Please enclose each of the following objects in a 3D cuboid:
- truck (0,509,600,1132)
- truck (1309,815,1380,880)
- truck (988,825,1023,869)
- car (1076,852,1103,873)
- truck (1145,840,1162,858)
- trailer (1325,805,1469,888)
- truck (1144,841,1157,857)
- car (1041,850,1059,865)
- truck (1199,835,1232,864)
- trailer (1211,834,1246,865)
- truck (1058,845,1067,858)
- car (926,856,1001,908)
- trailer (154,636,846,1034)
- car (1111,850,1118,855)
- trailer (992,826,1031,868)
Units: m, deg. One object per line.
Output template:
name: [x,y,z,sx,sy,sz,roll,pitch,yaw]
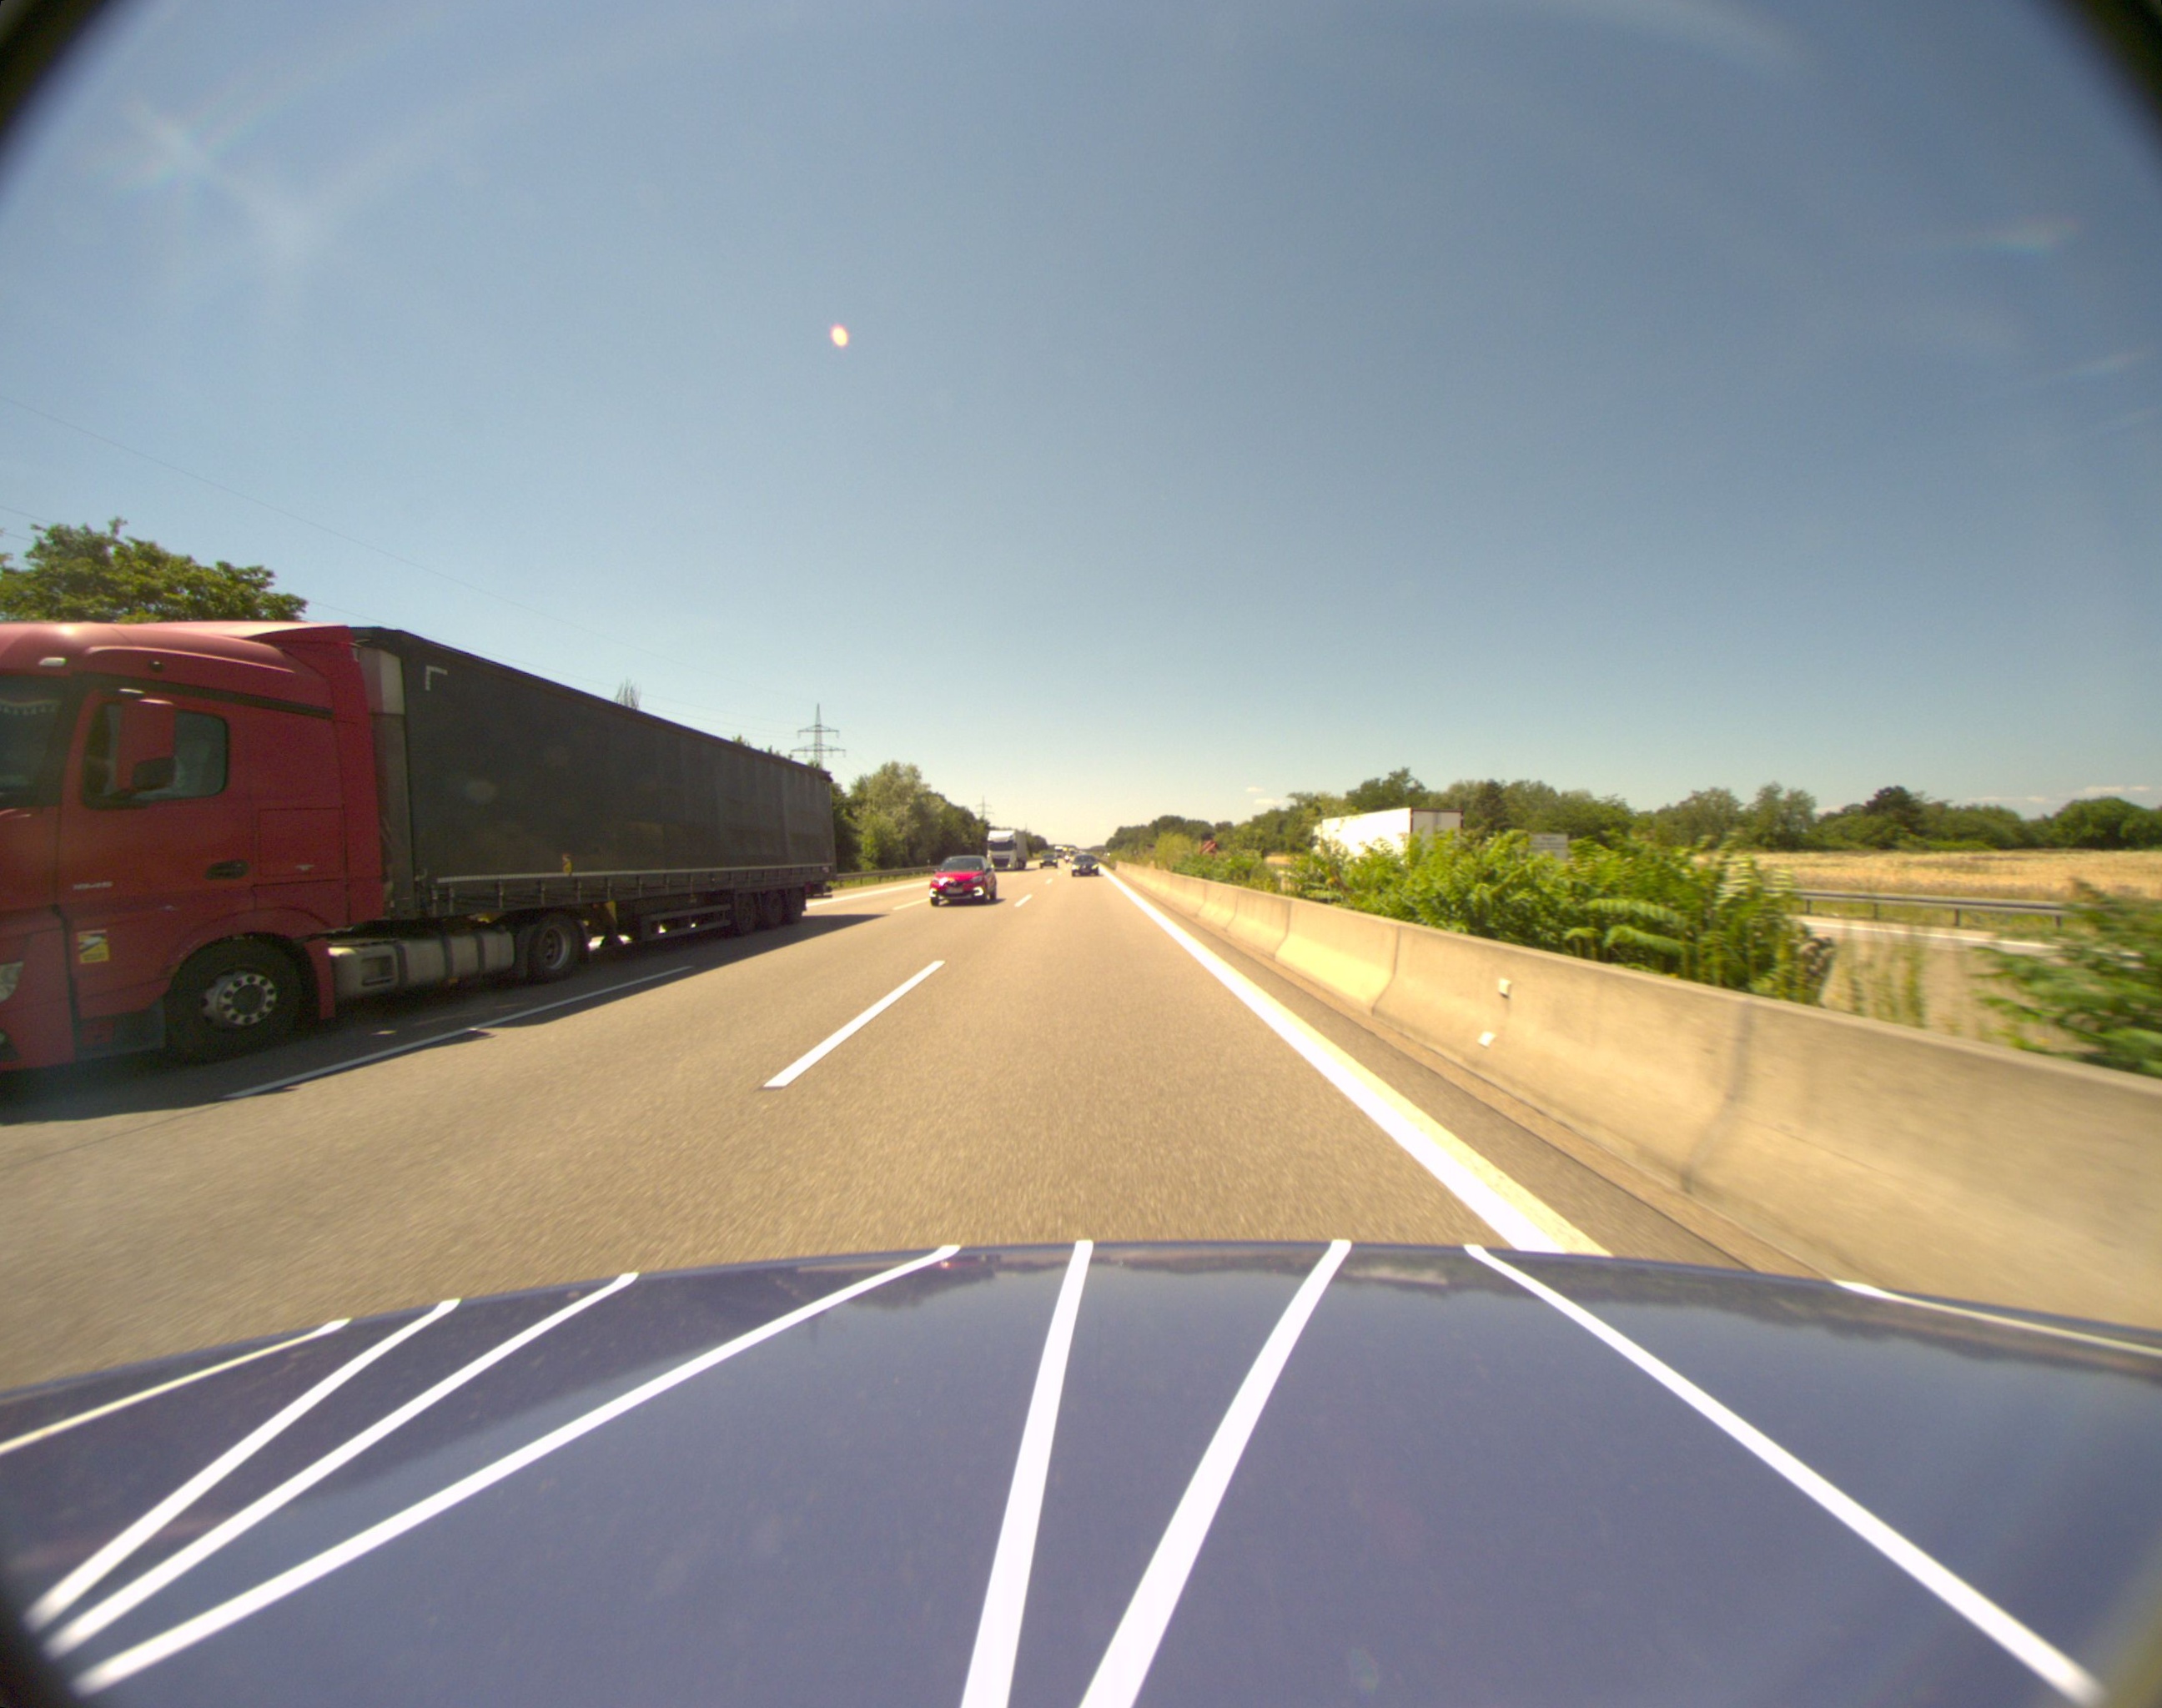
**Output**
truck: [-8.349,-0.191,7.937,2.802,4.140,5.722,-2,1,1]
truck: [17.344,-0.412,50.371,2.687,3.991,5.755,1,0,0]
truck: [-7.377,-0.672,75.280,2.743,4.096,6.124,-2,0,0]
car: [0.594,0.609,55.543,1.808,1.385,3.999,-2,0,0]
truck: [17.682,-1.198,185.241,2.768,3.991,13.521,1,0,0]
trailer: [17.347,-0.386,43.184,2.701,3.991,12.966,1,0,0]
truck: [17.658,-1.232,192.609,2.768,3.991,5.750,1,0,0]
car: [-3.408,0.369,84.103,1.878,1.614,4.003,-1,0,0]
truck: [18.062,-0.580,102.691,2.659,3.640,10.188,1,0,0]
trailer: [18.001,-0.538,93.332,2.659,3.640,8.535,1,0,0]
truck: [-5.862,-0.867,243.811,2.573,3.871,5.722,-2,1,0]
car: [-3.828,0.867,25.440,1.808,1.536,4.000,-2,0,0]
trailer: [-8.249,-0.228,14.837,2.796,4.139,13.573,-2,0,1]
car: [10.734,-0.525,242.851,1.808,1.559,4.095,1,0,0]
trailer: [-7.347,-0.704,82.049,2.743,4.083,13.121,-2,0,0]
